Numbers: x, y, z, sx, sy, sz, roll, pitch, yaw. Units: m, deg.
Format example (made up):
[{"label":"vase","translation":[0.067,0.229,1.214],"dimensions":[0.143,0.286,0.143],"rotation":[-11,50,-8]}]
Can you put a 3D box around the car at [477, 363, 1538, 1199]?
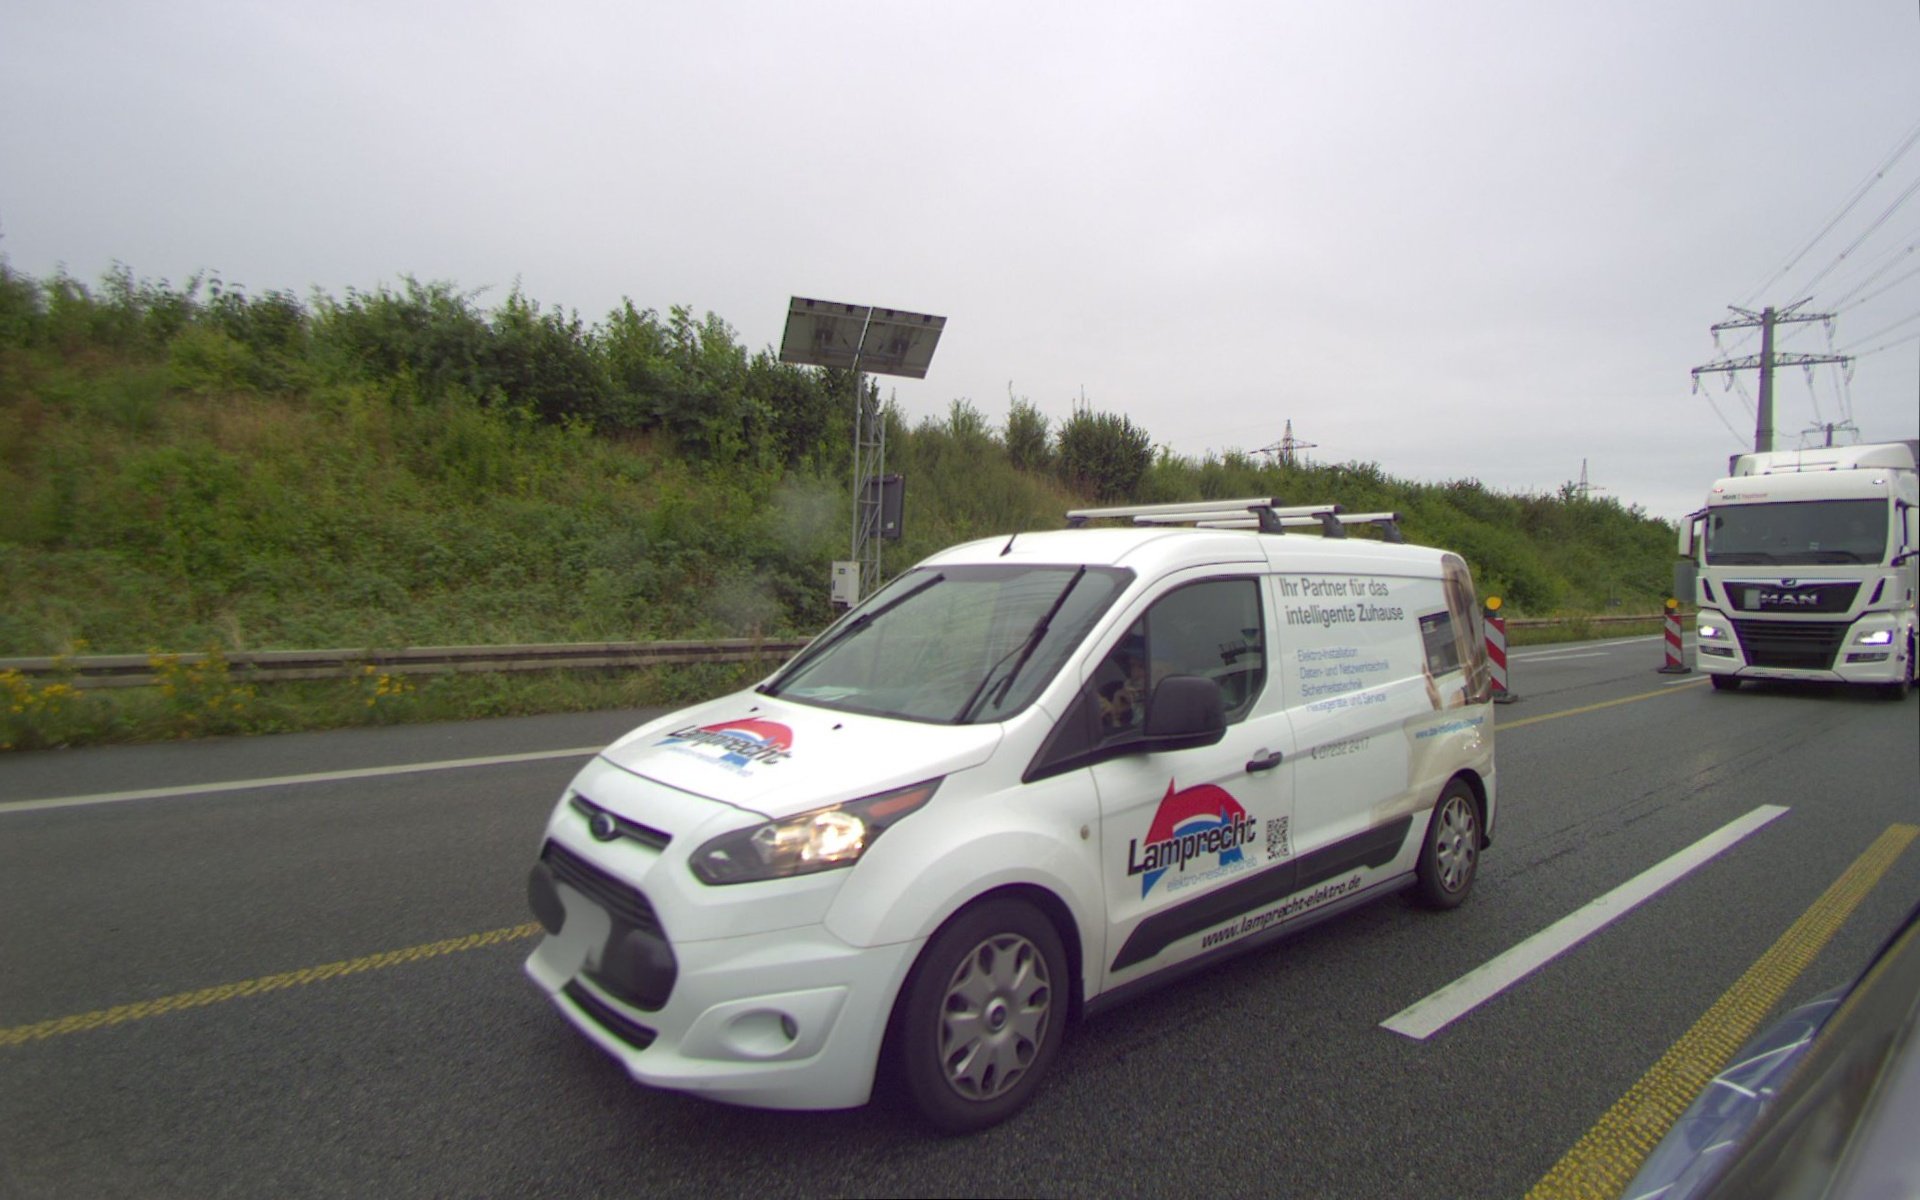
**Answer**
[{"label":"car","translation":[0.623,0.409,4.361],"dimensions":[4.574,1.862,1.832],"rotation":[0,1,-41]}]

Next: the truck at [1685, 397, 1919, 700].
[{"label":"truck","translation":[14.520,-0.740,16.863],"dimensions":[5.591,4.190,2.711],"rotation":[0,1,-41]}]

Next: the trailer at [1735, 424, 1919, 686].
[{"label":"trailer","translation":[19.787,-0.753,21.418],"dimensions":[13.491,4.198,2.711],"rotation":[0,1,-41]}]
